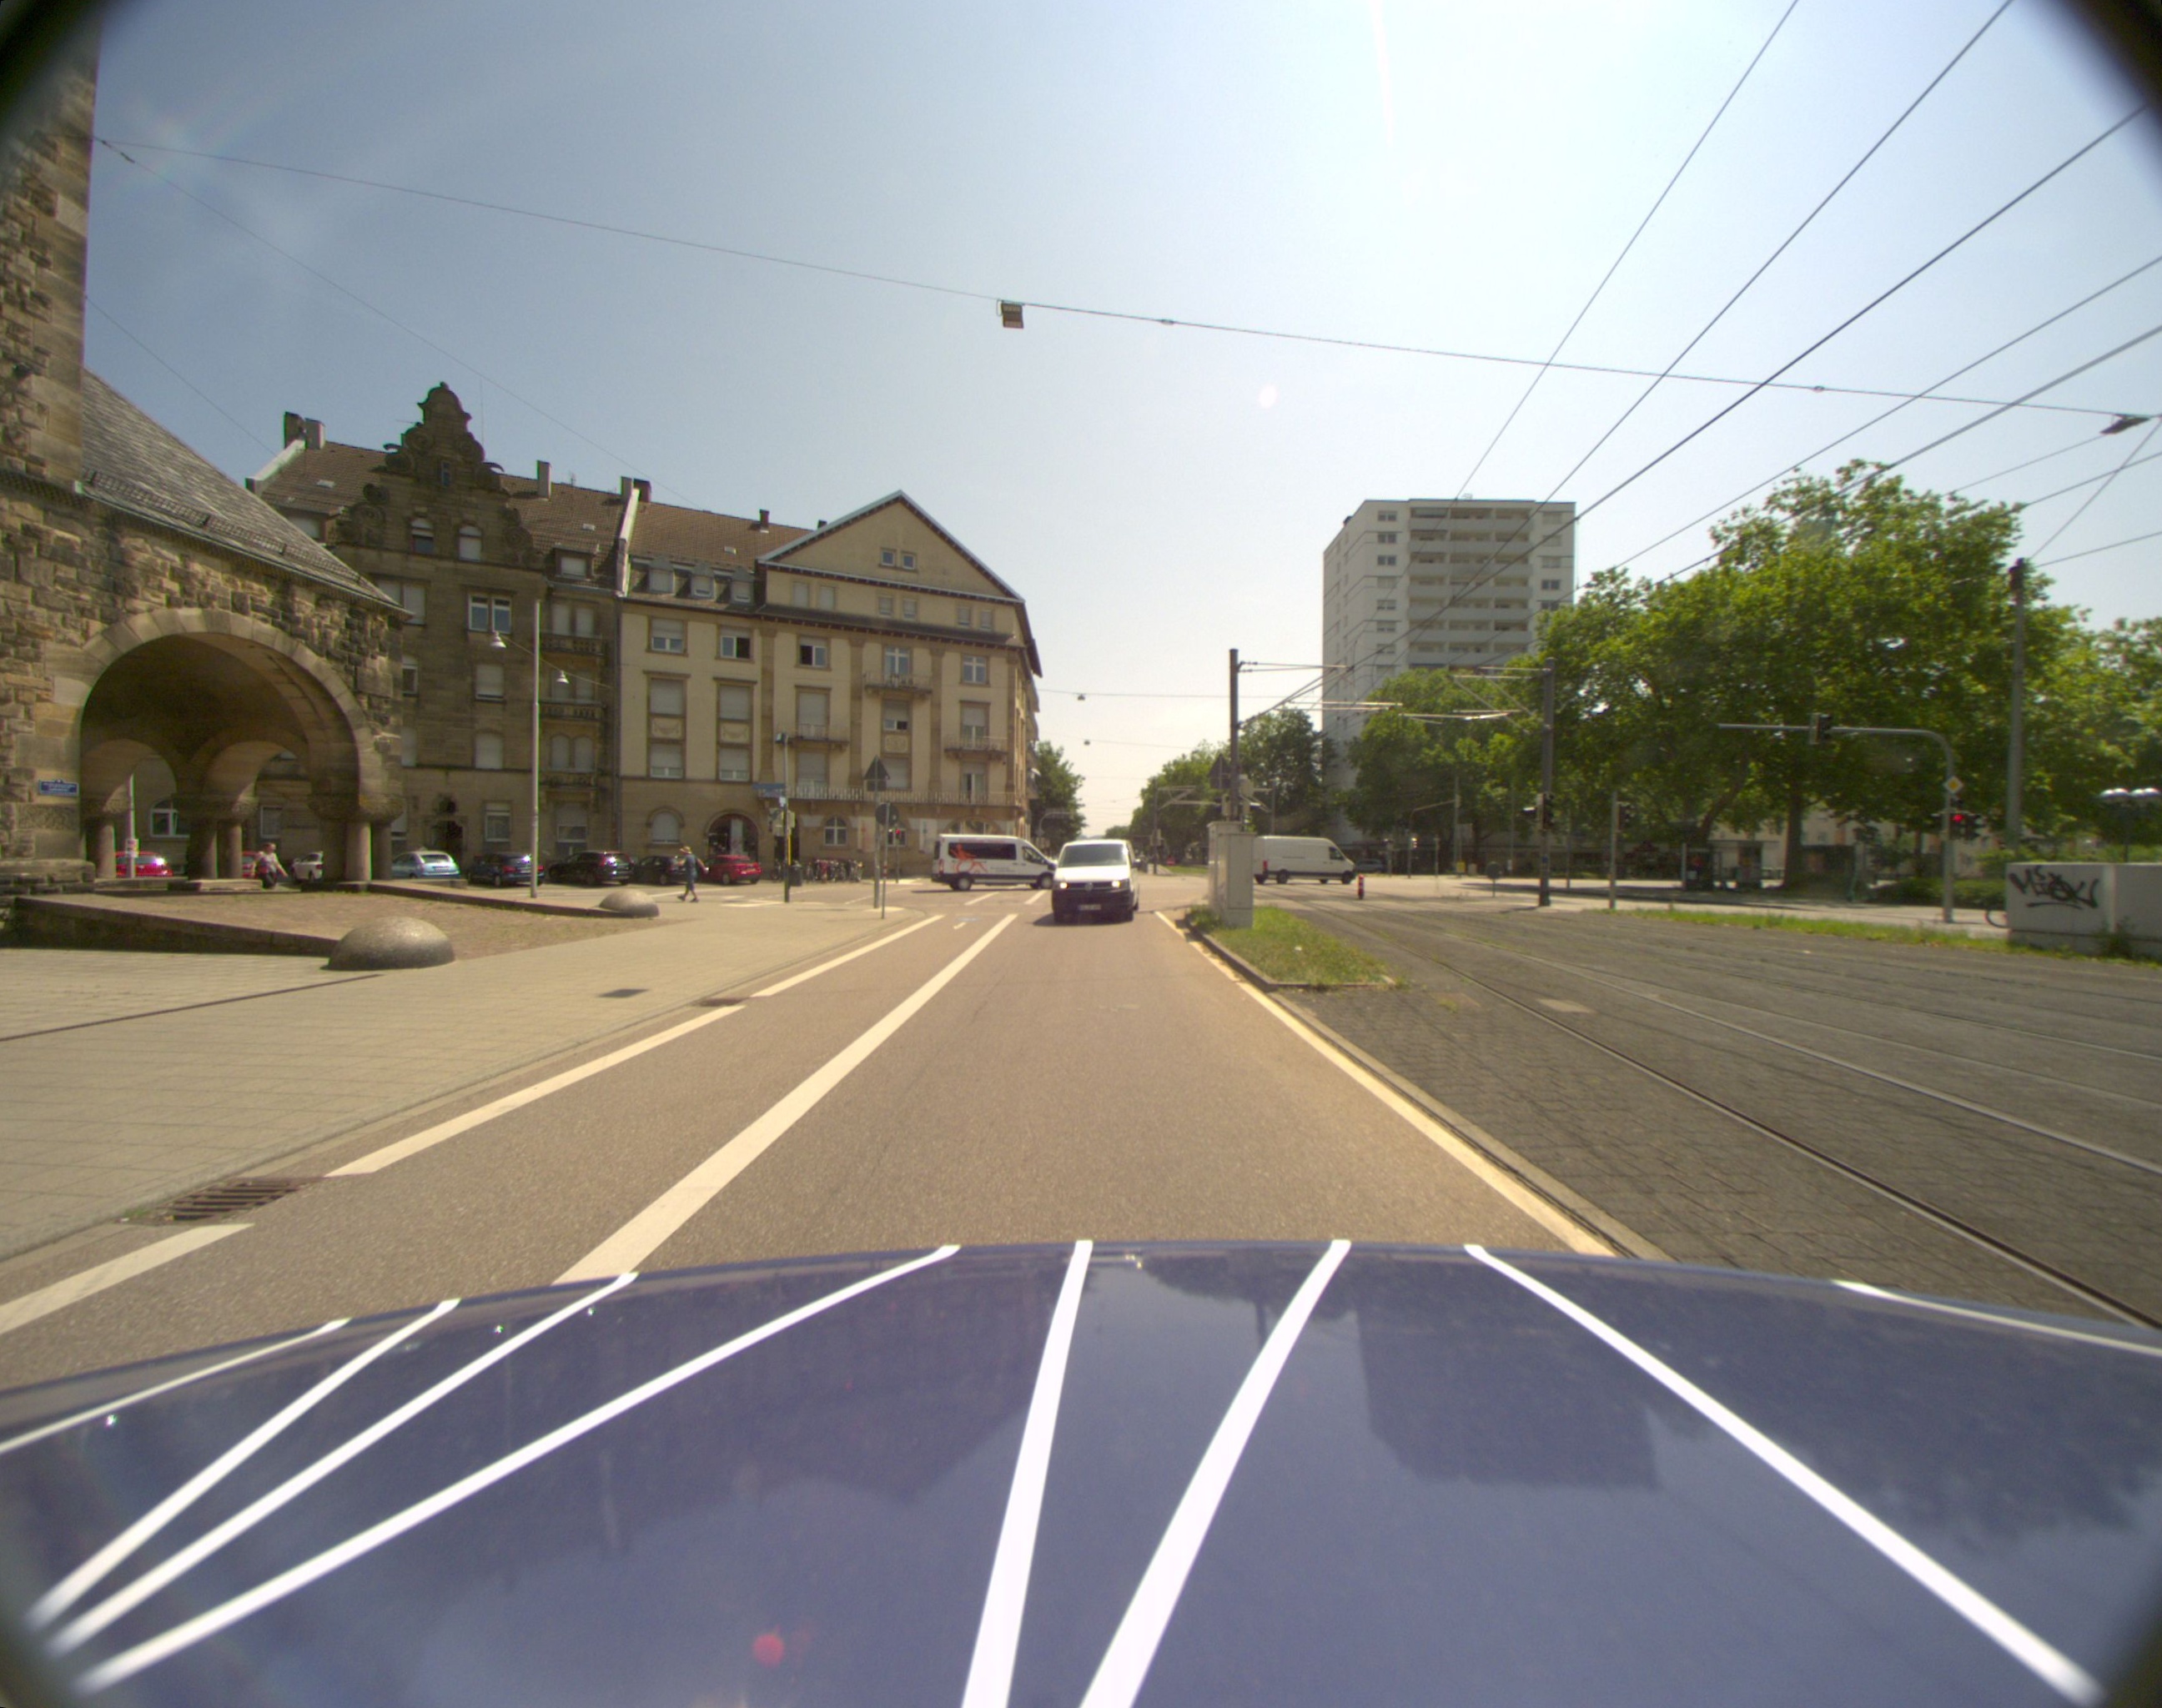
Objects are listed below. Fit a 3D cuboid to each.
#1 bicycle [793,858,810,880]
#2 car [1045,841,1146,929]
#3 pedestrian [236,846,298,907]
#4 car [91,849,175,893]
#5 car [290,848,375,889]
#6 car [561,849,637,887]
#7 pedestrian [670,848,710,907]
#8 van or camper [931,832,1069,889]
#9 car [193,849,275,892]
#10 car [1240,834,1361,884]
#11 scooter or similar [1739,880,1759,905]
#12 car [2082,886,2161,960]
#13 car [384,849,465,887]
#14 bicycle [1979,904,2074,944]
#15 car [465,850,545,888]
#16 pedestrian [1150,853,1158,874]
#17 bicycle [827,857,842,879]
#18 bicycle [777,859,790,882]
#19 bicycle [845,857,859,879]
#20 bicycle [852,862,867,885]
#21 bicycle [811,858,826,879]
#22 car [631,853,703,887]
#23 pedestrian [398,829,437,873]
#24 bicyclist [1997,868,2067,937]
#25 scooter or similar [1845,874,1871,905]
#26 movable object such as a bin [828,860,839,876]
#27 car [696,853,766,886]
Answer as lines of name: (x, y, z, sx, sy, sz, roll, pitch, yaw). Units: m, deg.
bicycle: (-15.422, 0.803, 41.908, 0.565, 1.145, 1.803, 0, 2, -10)
car: (0.522, 0.680, 19.263, 1.851, 1.942, 4.946, -1, 0, 9)
pedestrian: (-21.170, 0.578, 19.778, 0.791, 1.550, 0.720, 0, 1, -6)
car: (-37.936, 0.632, 30.405, 3.217, 1.566, 1.619, 2, 3, 31)
car: (-32.290, 0.607, 32.765, 3.217, 1.566, 1.619, 2, 3, 27)
car: (-23.405, 0.657, 36.882, 3.218, 1.656, 1.619, 2, 3, 26)
pedestrian: (-12.228, 0.716, 23.798, 0.744, 1.812, 0.834, 0, 1, 8)
van or camper: (-3.669, 0.306, 34.420, 5.908, 2.447, 2.070, 1, 0, -20)
car: (-35.189, 0.640, 31.579, 3.217, 1.566, 1.619, 2, 3, 31)
car: (12.154, 0.254, 41.969, 6.642, 2.622, 2.073, 0, 1, -25)
scooter or similar: (31.249, 1.775, 35.557, 0.257, 1.114, 0.978, 0, 1, 13)
car: (21.250, 1.327, 13.052, 1.952, 1.351, 4.628, 1, 0, -1)
car: (-29.852, 0.603, 34.565, 3.218, 1.566, 1.619, 2, 3, 26)
bicycle: (23.873, 1.747, 19.218, 0.497, 0.877, 1.482, 0, 0, -2)
car: (-26.825, 0.659, 35.385, 3.218, 1.566, 1.619, 2, 3, 26)
pedestrian: (6.094, 0.782, 63.433, 0.679, 1.695, 0.554, 0, 1, 3)
bicycle: (-13.993, 0.798, 43.227, 0.565, 1.145, 1.803, 0, 2, -10)
bicycle: (-15.942, 0.881, 40.681, 0.566, 1.145, 1.802, 0, 2, -19)
bicycle: (-13.148, 0.792, 43.596, 0.565, 1.145, 1.803, 0, 2, -10)
bicycle: (-12.282, 1.060, 42.216, 0.565, 1.145, 2.058, 0, 2, -10)
bicycle: (-14.771, 0.797, 42.785, 0.565, 1.145, 1.803, 0, 2, -10)
car: (-20.801, 0.766, 38.177, 3.218, 1.471, 1.619, 2, 3, 26)
pedestrian: (-32.012, -0.151, 36.666, 1.099, 2.101, 0.867, 1, 0, 7)
bicyclist: (23.865, 1.187, 19.089, 0.640, 1.676, 0.868, 0, 1, -3)
scooter or similar: (29.294, 1.319, 28.651, 0.257, 1.114, 0.861, 1, 1, 12)
movable object such as a bin: (-14.929, 0.847, 45.813, 0.591, 0.989, 0.582, 0, 1, -16)
car: (-18.069, 0.771, 39.241, 3.218, 1.471, 1.619, 2, 3, 26)
